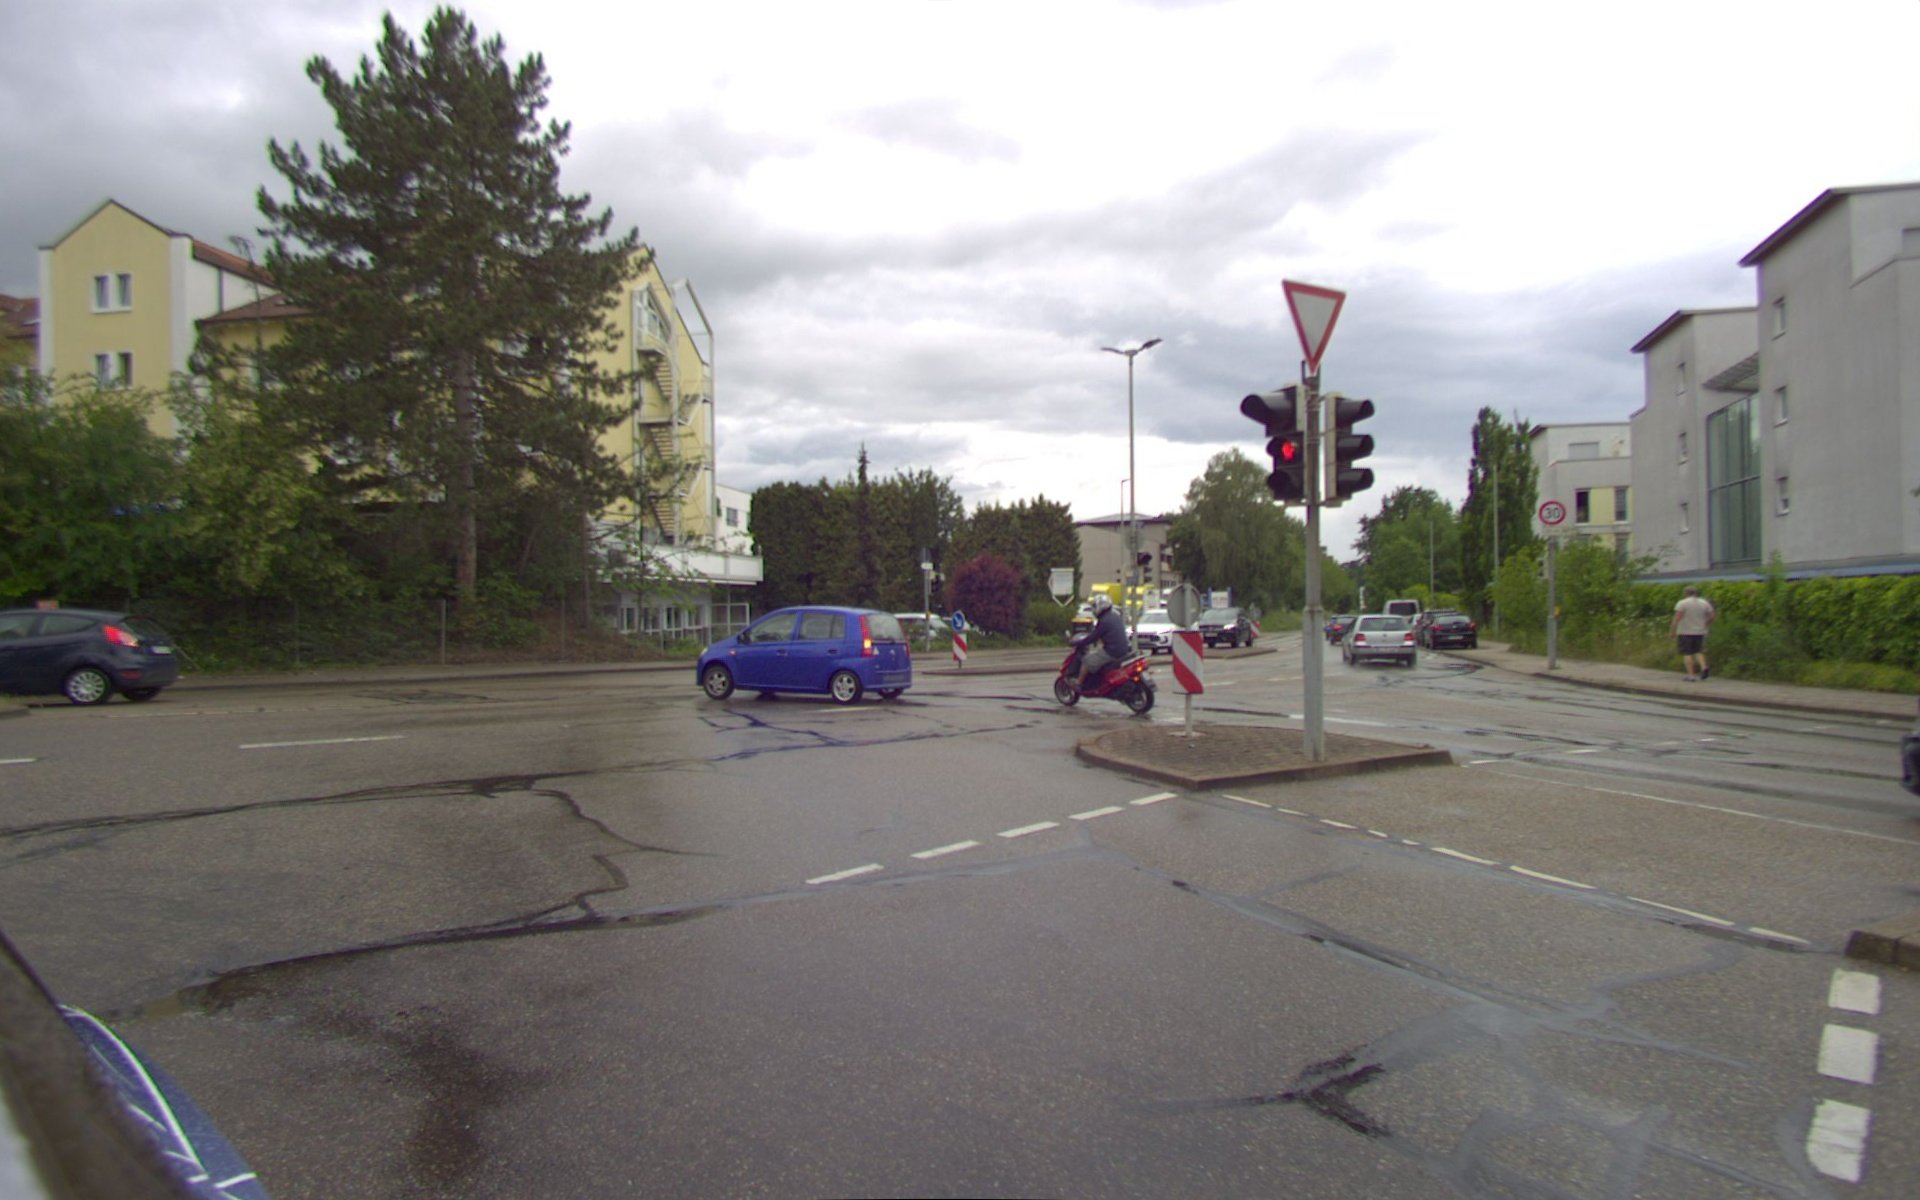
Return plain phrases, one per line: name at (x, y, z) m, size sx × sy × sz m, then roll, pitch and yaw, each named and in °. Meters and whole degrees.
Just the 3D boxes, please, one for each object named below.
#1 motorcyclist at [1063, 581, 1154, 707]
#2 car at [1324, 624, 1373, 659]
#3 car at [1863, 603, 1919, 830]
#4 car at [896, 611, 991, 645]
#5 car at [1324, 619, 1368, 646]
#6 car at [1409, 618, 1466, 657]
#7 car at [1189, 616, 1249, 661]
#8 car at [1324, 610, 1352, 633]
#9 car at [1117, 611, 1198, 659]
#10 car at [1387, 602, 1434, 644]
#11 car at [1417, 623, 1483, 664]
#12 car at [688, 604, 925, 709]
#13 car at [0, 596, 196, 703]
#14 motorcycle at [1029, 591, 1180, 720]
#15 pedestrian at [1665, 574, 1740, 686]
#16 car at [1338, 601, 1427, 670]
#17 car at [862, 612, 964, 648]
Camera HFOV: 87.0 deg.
motorcyclist at (2.021, 0.584, 13.778) m, size 0.939 × 1.637 × 0.762 m, roll -2°, pitch -1°, yaw 42°
car at (18.275, 1.907, 47.541) m, size 1.987 × 1.564 × 3.968 m, roll -1°, pitch -2°, yaw 23°
car at (7.487, 0.694, 4.943) m, size 1.791 × 1.419 × 4.216 m, roll 1°, pitch -2°, yaw -20°
car at (-0.755, 1.245, 45.610) m, size 3.984 × 1.404 × 1.715 m, roll -1°, pitch 2°, yaw 30°
car at (23.406, 1.965, 61.234) m, size 1.991 × 1.567 × 3.962 m, roll -2°, pitch -2°, yaw 28°
car at (21.288, 1.640, 45.245) m, size 1.985 × 1.567 × 3.973 m, roll 0°, pitch 0°, yaw 20°
car at (11.255, 1.638, 43.880) m, size 1.987 × 1.829 × 3.970 m, roll -1°, pitch -1°, yaw 22°
car at (33.079, 1.873, 88.463) m, size 1.988 × 1.771 × 3.968 m, roll -1°, pitch 2°, yaw 24°
car at (7.319, 1.242, 37.170) m, size 1.989 × 1.652 × 3.965 m, roll 0°, pitch -1°, yaw 26°
car at (28.466, 1.526, 64.133) m, size 2.584 × 2.432 × 5.215 m, roll -1°, pitch -4°, yaw 23°
car at (19.656, 1.724, 40.747) m, size 1.985 × 1.567 × 3.972 m, roll -2°, pitch -2°, yaw 20°
car at (-2.395, 0.817, 15.716) m, size 3.424 × 1.467 × 1.510 m, roll 0°, pitch -2°, yaw 28°
car at (-14.161, 0.699, 15.117) m, size 3.933 × 1.512 × 1.931 m, roll 1°, pitch -1°, yaw -14°
motorcycle at (1.951, 0.725, 13.838) m, size 1.921 × 1.637 × 0.786 m, roll -2°, pitch -1°, yaw 42°
pedestrian at (13.874, 0.561, 18.934) m, size 0.842 × 2.029 × 0.798 m, roll -1°, pitch -1°, yaw 15°
car at (11.967, 0.956, 28.891) m, size 1.984 × 1.682 × 3.977 m, roll -1°, pitch 2°, yaw 18°
car at (-2.046, 1.246, 43.561) m, size 3.987 × 1.475 × 1.978 m, roll 0°, pitch -1°, yaw 32°
